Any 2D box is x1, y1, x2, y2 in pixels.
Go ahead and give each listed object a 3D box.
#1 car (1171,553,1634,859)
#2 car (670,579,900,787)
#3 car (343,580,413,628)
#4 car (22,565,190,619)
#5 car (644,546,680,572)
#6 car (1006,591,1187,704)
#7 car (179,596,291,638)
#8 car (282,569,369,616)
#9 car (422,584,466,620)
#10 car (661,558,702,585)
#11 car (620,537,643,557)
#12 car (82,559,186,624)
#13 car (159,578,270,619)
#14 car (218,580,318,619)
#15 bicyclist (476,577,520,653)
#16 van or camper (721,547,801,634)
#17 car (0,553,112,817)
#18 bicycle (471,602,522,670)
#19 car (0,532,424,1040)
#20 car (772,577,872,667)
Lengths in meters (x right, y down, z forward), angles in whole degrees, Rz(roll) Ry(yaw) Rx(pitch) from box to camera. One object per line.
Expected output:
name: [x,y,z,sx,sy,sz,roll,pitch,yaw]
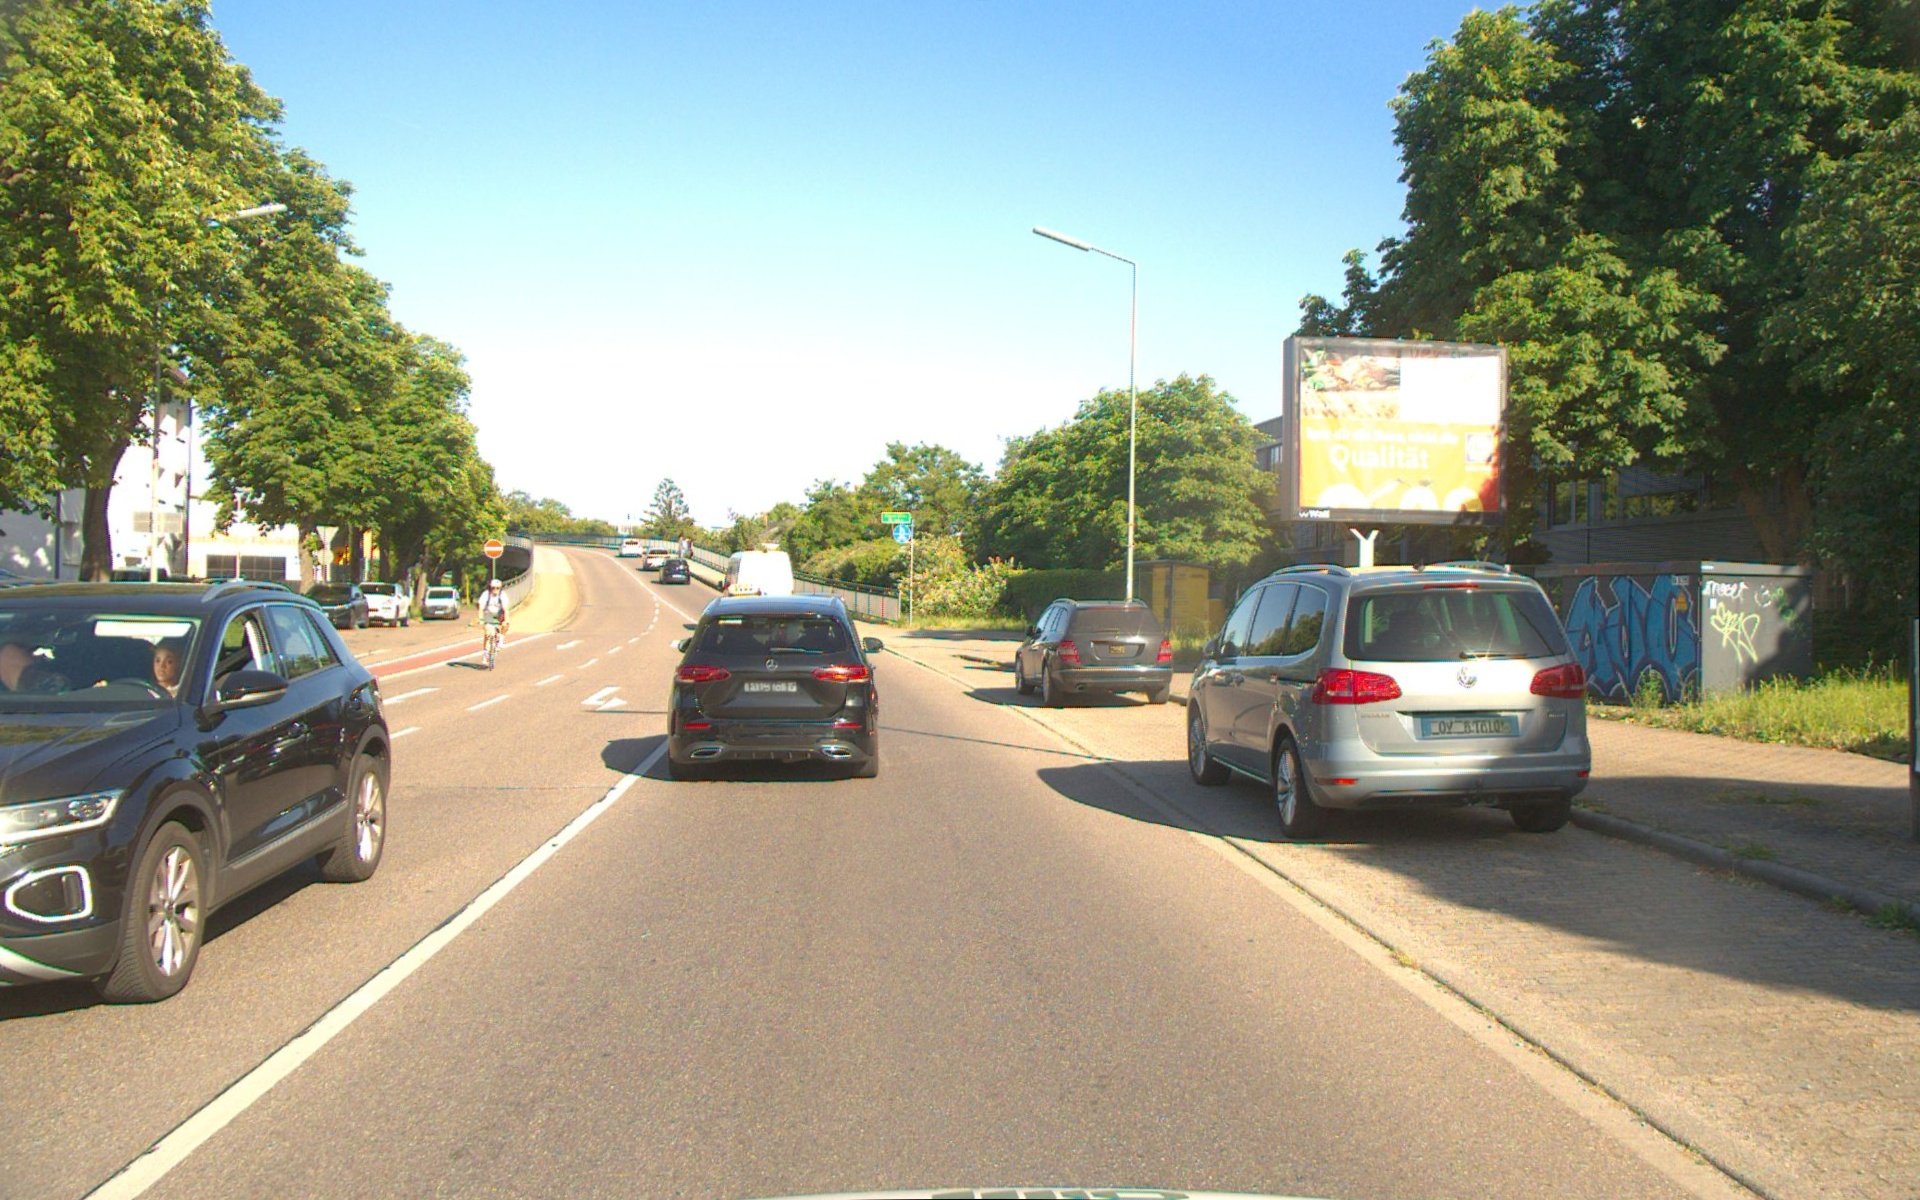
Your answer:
car: [2.906,0.616,12.028,1.836,1.752,4.608,-1,0,-4]
car: [-1.460,0.660,15.144,1.734,1.620,3.988,1,0,-1]
car: [-22.601,0.128,64.405,2.003,1.759,5.218,2,0,-14]
car: [-24.421,-0.203,47.446,3.923,1.454,1.899,1,-1,-17]
car: [-20.243,-2.779,112.525,1.954,1.709,3.997,0,0,-3]
car: [1.887,0.621,24.256,1.774,1.444,4.418,-1,1,-7]
car: [-29.706,0.671,67.761,3.952,1.625,1.977,-1,2,-34]
car: [-21.550,-0.254,56.365,2.002,1.489,4.946,1,0,-12]
car: [-30.805,0.109,98.899,1.888,2.026,4.248,1,1,-10]
car: [-16.463,-1.657,97.999,1.880,1.514,4.268,0,0,-3]
car: [-27.505,-4.455,138.544,1.843,1.570,3.990,1,1,-11]
car: [-26.767,-0.280,53.771,1.716,1.964,5.089,1,0,-11]
car: [-29.196,-0.047,64.809,3.634,1.536,1.760,1,1,-40]
car: [-30.560,-0.021,73.158,3.940,1.611,1.887,1,1,-20]
bicyclist: [-9.278,0.294,33.240,0.759,1.510,0.823,1,0,-12]
van or camper: [-6.952,-0.363,57.115,2.186,2.787,7.062,1,1,-11]
car: [-7.271,0.557,10.610,1.817,1.766,4.265,1,1,-6]
bicycle: [-9.269,0.691,33.168,0.779,1.247,3.203,1,0,-12]
car: [-3.842,0.588,7.248,1.875,1.627,3.997,1,0,-4]
car: [-2.710,0.433,33.214,1.768,1.669,3.998,1,-1,-2]
